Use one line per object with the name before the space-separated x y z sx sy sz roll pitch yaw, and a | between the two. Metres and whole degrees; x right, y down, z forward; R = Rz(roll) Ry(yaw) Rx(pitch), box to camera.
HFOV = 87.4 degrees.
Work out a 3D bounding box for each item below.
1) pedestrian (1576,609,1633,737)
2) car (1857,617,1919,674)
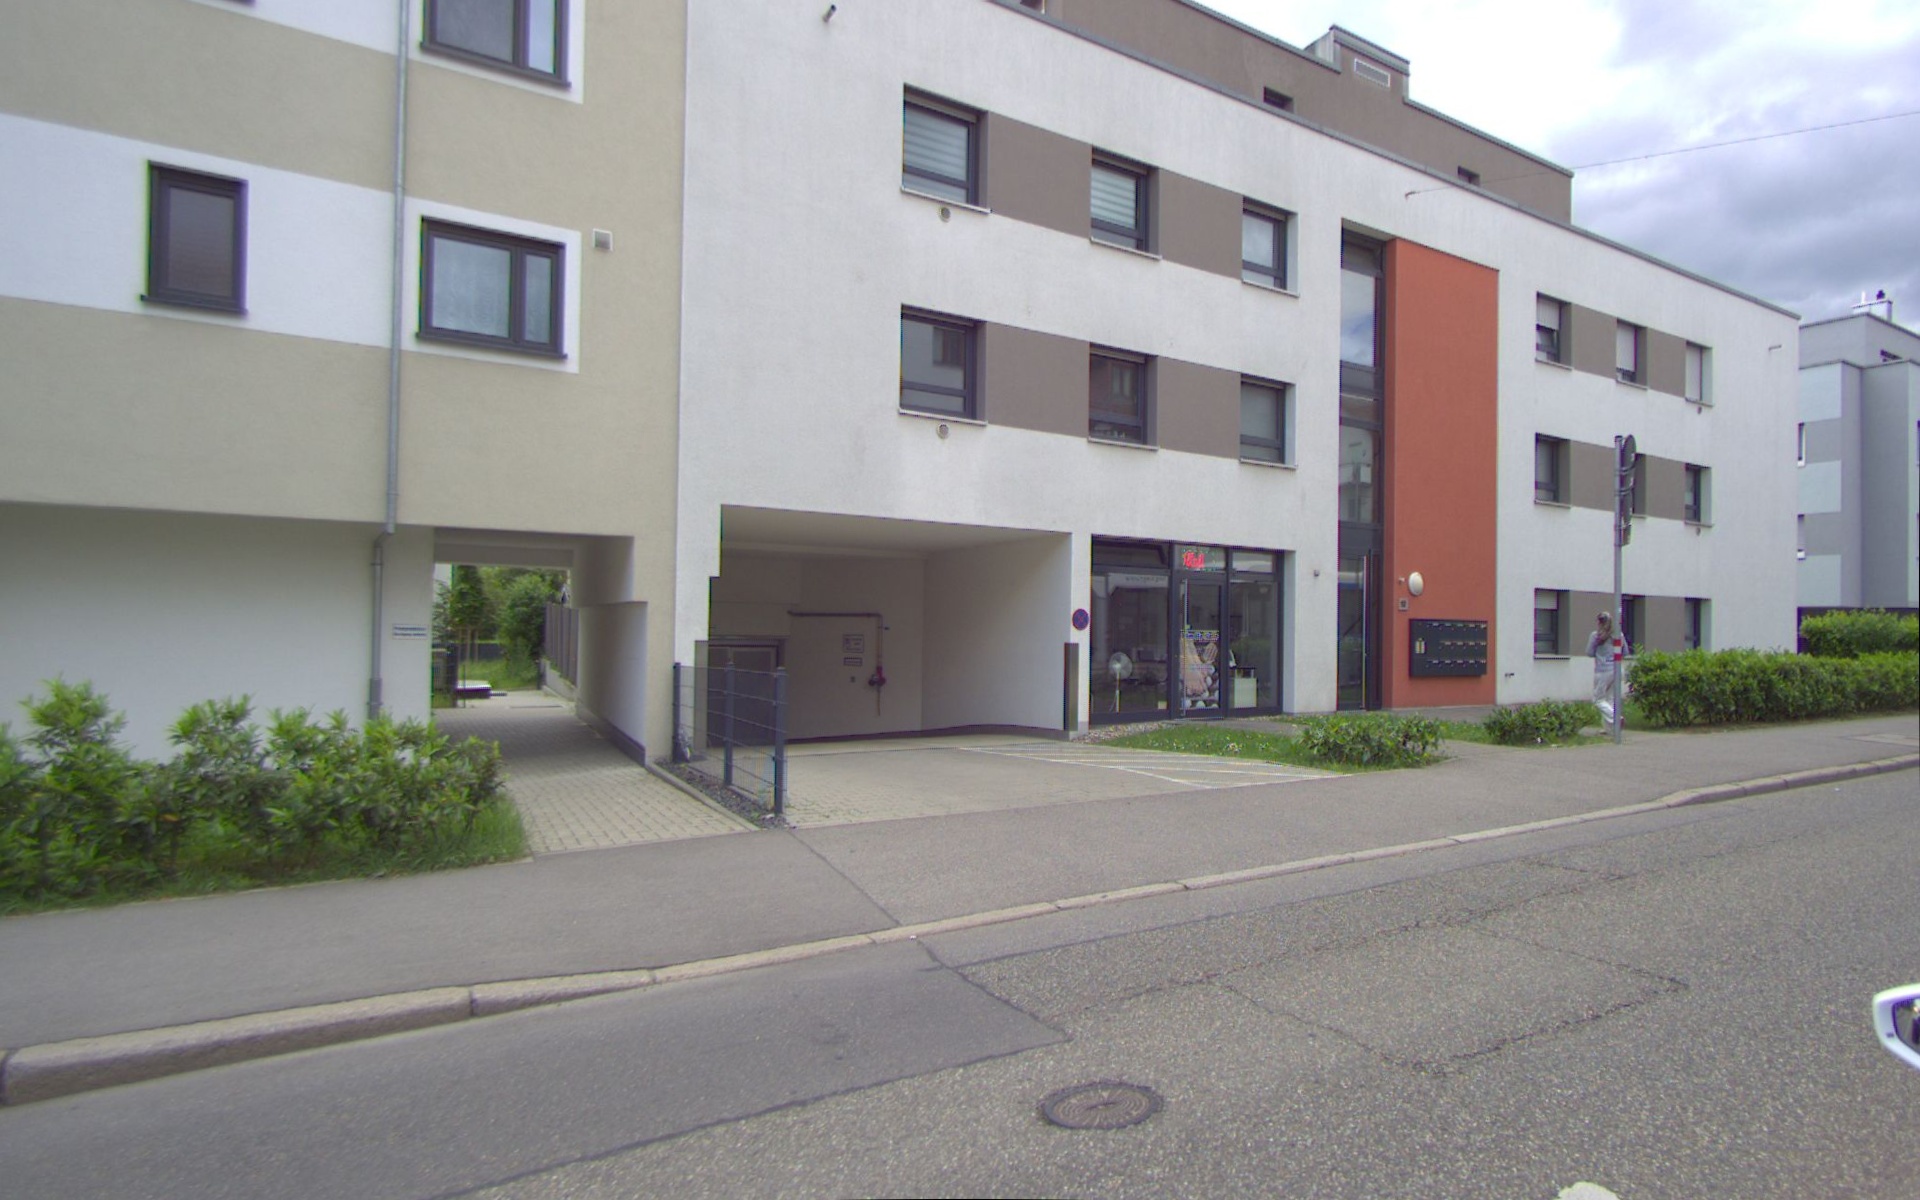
pedestrian | 8.671 0.959 13.515 0.629 1.664 0.518 0 -1 35
car | 29.456 1.360 29.627 1.702 1.689 4.149 2 -2 -26
